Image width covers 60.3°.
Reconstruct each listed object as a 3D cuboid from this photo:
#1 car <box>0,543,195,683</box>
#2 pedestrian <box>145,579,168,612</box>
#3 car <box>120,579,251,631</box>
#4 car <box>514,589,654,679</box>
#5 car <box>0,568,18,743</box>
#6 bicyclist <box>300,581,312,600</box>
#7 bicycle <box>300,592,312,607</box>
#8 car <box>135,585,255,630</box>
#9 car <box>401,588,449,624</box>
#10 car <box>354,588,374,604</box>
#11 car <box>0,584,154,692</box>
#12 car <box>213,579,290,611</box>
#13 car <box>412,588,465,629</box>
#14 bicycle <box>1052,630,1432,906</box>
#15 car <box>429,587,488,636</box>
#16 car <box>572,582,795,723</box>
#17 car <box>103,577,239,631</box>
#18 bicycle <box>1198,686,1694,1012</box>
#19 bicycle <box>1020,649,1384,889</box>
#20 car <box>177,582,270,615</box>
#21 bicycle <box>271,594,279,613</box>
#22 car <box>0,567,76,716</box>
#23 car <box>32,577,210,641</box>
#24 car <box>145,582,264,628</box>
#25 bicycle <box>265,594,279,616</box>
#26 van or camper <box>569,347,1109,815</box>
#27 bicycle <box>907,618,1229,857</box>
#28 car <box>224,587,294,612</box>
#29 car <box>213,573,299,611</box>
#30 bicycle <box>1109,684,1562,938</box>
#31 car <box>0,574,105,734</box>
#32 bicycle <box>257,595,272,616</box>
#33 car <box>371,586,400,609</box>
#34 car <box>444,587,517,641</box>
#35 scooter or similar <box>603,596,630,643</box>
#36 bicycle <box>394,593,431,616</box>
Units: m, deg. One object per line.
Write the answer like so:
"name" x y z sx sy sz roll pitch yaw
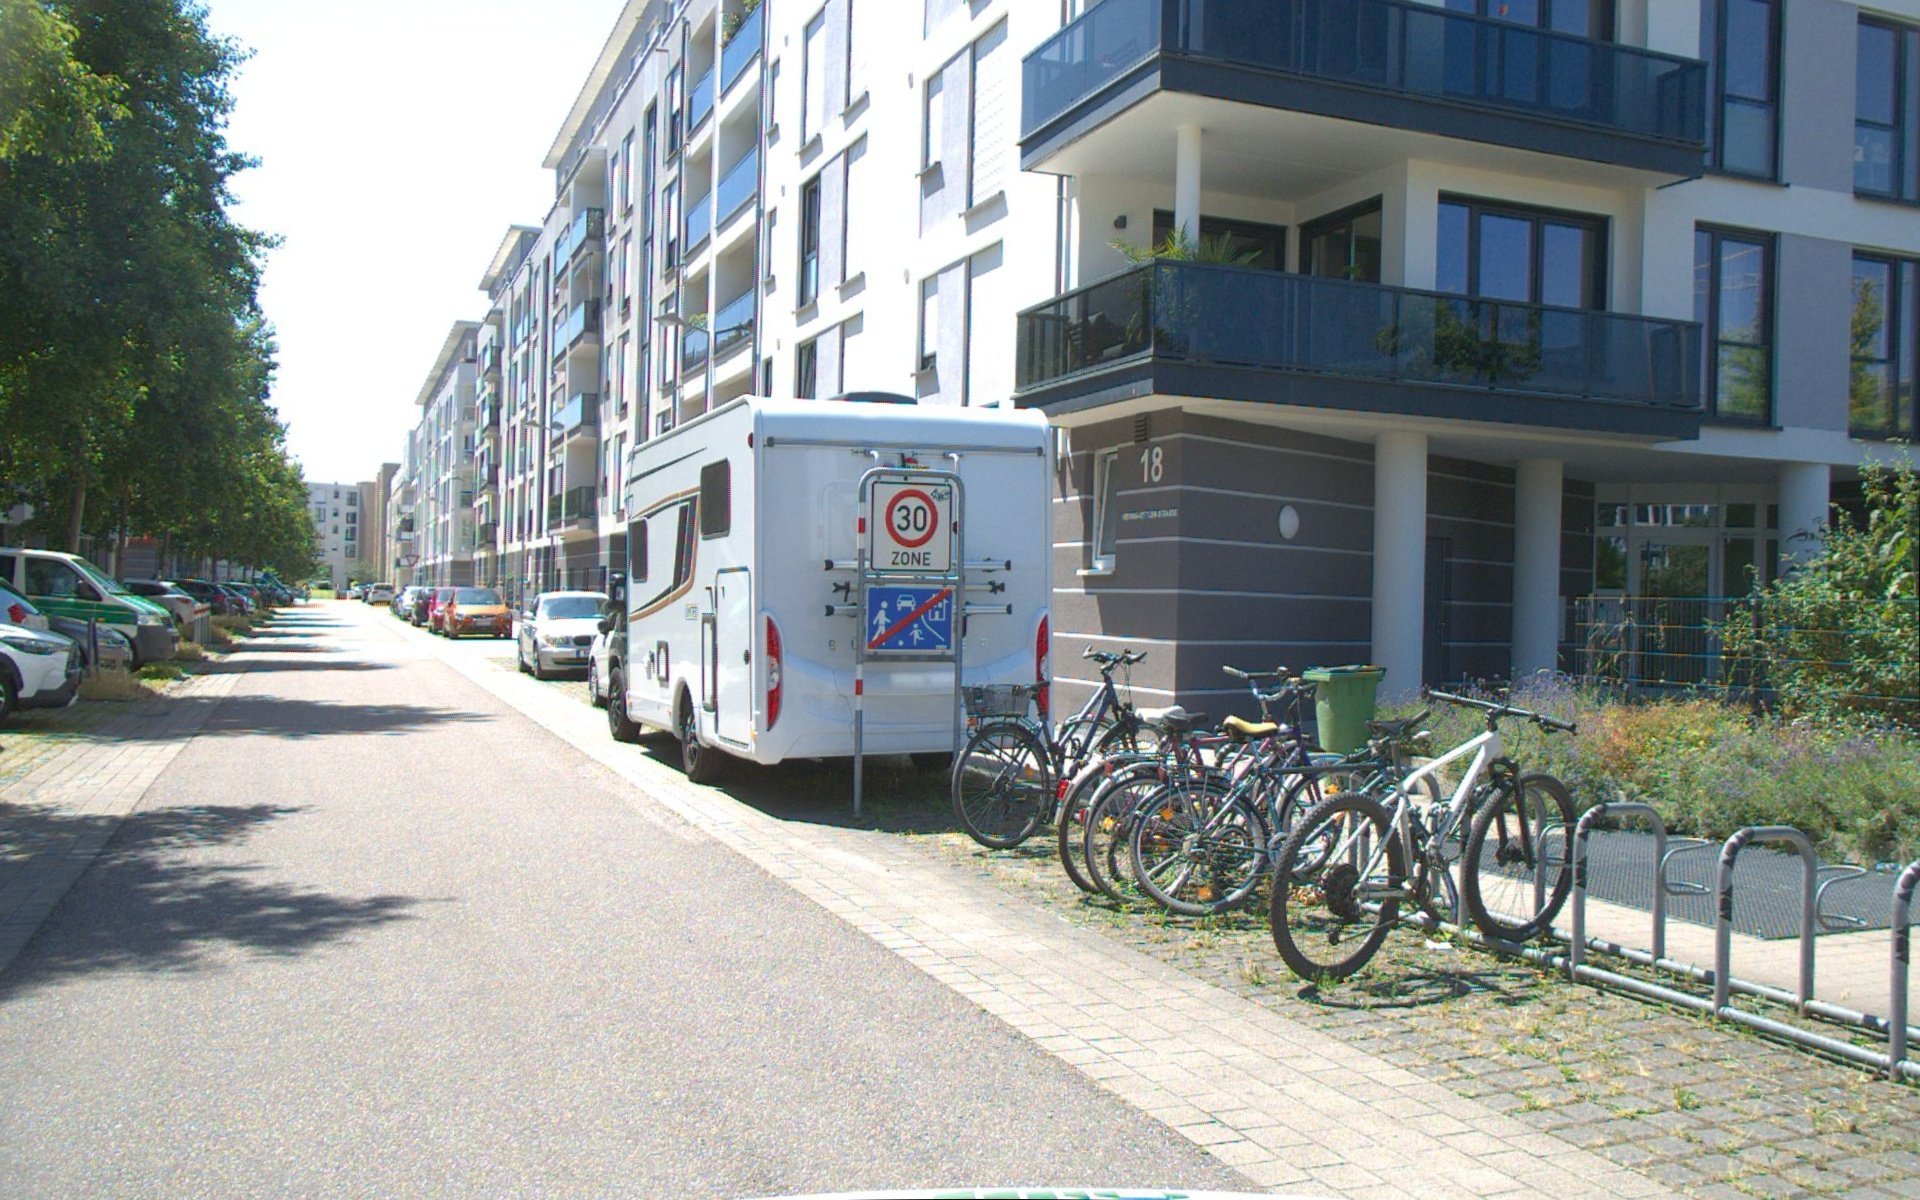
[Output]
"car" -15.228 0.186 26.385 5.263 2.147 2.175 0 0 -20
"pedestrian" -41.904 -0.217 86.275 0.984 1.720 0.828 0 0 -18
"car" -27.255 0.192 58.327 3.928 1.680 1.907 2 -1 -20
"car" -6.637 0.554 28.861 1.819 1.441 4.399 1 0 -20
"car" -10.719 0.450 14.481 3.921 1.657 1.938 2 -1 -20
"bicyclist" -52.617 -0.745 133.068 0.940 1.485 0.794 0 0 -22
"bicycle" -52.598 -0.034 133.081 0.886 1.149 2.026 0 0 -22
"car" -28.094 0.283 60.822 3.924 1.470 1.761 2 -1 -26
"car" -23.719 0.240 73.249 1.808 1.531 4.323 -1 1 -21
"car" -68.044 -0.462 188.667 1.966 1.704 3.973 1 0 -22
"car" -14.092 0.521 23.799 4.361 1.516 1.986 0 0 -24
"car" -52.043 -0.351 121.569 5.072 2.156 2.297 2 0 -22
"car" -19.775 0.301 62.638 1.620 1.488 4.091 -1 1 -22
"bicycle" 1.398 0.780 8.159 1.823 1.244 0.552 0 0 -21
"car" -16.267 0.341 53.588 1.572 1.511 3.652 -1 1 -21
"car" -3.527 0.556 20.459 1.783 1.531 4.230 -1 1 -23
"car" -26.585 0.138 55.892 3.931 1.658 1.921 2 -1 -22
"bicycle" 1.999 0.918 6.696 2.008 1.021 0.865 0 0 -34
"bicycle" 1.259 0.828 8.507 1.856 1.130 0.473 0 0 -21
"car" -36.324 -0.051 81.602 4.127 1.512 1.943 2 -2 -25
"bicycle" -44.083 0.216 106.471 0.459 1.161 1.912 0 0 -23
"car" -12.565 0.424 19.383 3.628 1.705 1.840 2 -1 -22
"car" -23.502 0.257 46.511 4.193 1.544 1.912 3 -1 -22
"car" -30.677 0.183 67.296 4.303 1.740 1.985 -1 1 -24
"bicycle" -37.131 0.261 89.237 0.367 1.201 1.800 0 0 -33
"van or camper" -1.567 -0.076 14.510 2.405 2.957 7.773 2 -1 -22
"bicycle" 0.684 0.769 10.057 1.902 1.244 0.816 -2 2 -38
"car" -48.795 -0.057 115.180 4.321 1.541 2.062 3 -1 -22
"car" -53.851 -0.588 126.658 5.939 2.865 2.588 0 0 -22
"bicycle" 1.680 0.923 7.594 1.819 0.992 0.943 0 0 -9
"car" -11.401 0.478 17.026 4.503 1.622 1.950 3 -1 -27
"bicycle" -37.452 0.289 89.078 0.430 1.147 1.956 0 0 -33
"car" -43.435 -0.207 125.033 1.968 1.686 4.090 0 0 -21
"car" -14.110 0.377 48.527 1.713 1.513 4.232 -1 1 -21
"scooter or similar" -9.400 0.516 45.283 0.535 1.247 1.527 1 0 -6
"bicycle" -28.783 0.243 86.901 1.823 1.168 0.454 -1 0 -41
